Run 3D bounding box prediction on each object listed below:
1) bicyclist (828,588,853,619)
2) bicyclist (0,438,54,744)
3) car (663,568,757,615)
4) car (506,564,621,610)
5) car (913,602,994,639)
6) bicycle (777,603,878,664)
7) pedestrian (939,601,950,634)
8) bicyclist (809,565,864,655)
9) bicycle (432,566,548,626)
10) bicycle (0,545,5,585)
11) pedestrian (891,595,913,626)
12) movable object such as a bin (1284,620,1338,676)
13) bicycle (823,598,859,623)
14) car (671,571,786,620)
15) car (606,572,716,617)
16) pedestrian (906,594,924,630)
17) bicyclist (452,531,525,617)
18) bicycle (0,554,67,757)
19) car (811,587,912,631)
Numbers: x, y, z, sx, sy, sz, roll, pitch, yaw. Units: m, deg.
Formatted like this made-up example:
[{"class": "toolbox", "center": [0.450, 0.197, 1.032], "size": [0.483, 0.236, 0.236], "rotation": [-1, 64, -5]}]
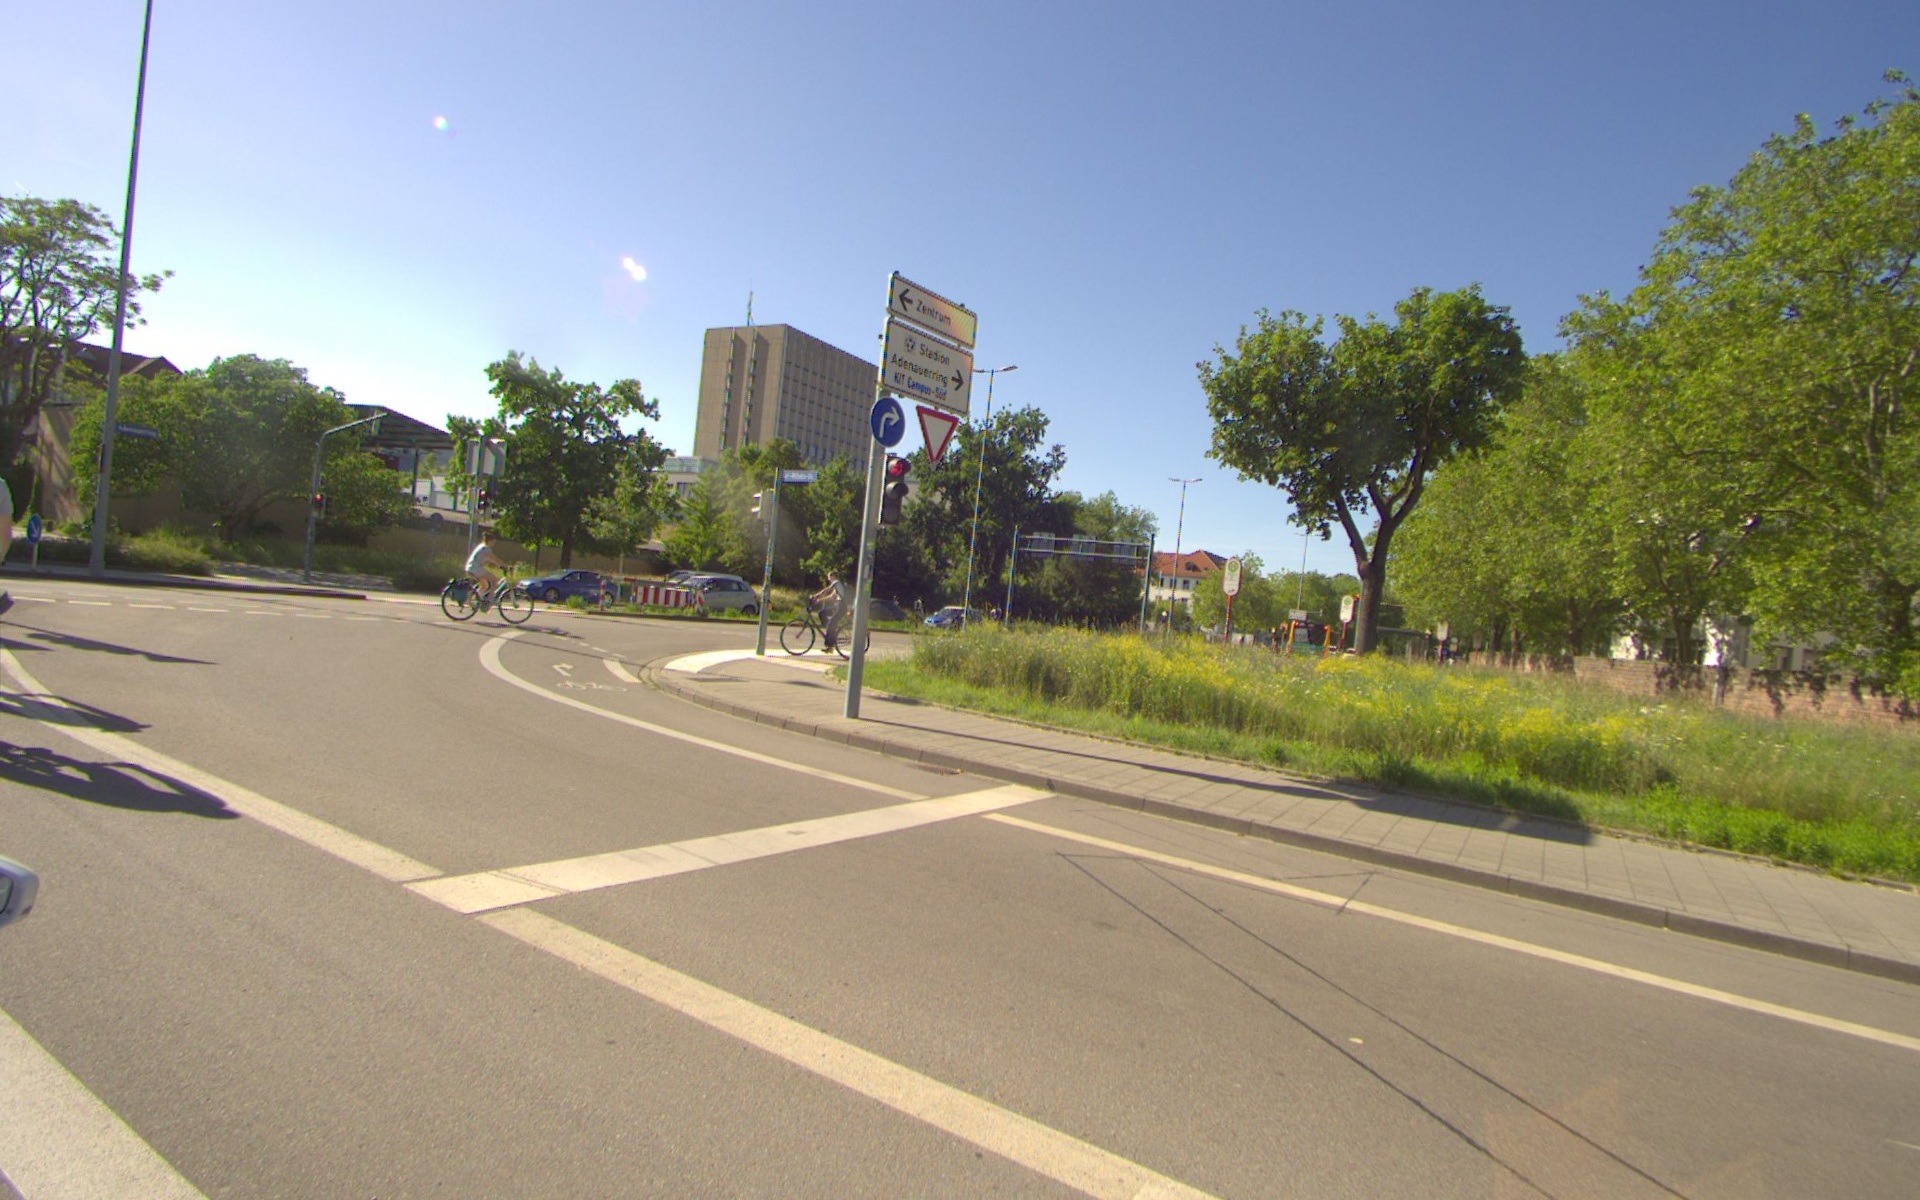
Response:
[{"class": "bicyclist", "center": [-5.642, 0.152, 47.461], "size": [0.602, 1.360, 0.874], "rotation": [7, 1, 37]}, {"class": "bicyclist", "center": [-6.245, -0.110, 6.104], "size": [1.123, 1.813, 0.684], "rotation": [7, 0, 32]}, {"class": "car", "center": [-11.843, -0.368, 47.798], "size": [1.767, 1.771, 3.986], "rotation": [7, 0, 37]}, {"class": "car", "center": [-16.211, -0.527, 41.320], "size": [1.767, 1.415, 3.986], "rotation": [7, 0, 37]}, {"class": "car", "center": [-0.294, 1.049, 50.459], "size": [1.916, 1.415, 3.986], "rotation": [6, 0, 37]}, {"class": "bicycle", "center": [-2.605, 0.654, 19.796], "size": [1.856, 0.970, 0.635], "rotation": [7, 1, -10]}, {"class": "pedestrian", "center": [-1.185, 1.314, 76.693], "size": [0.401, 2.451, 0.467], "rotation": [6, -1, 34]}, {"class": "bicyclist", "center": [-2.444, 0.192, 19.808], "size": [0.898, 1.667, 0.630], "rotation": [6, 1, -9]}, {"class": "bicycle", "center": [-9.104, -0.056, 19.553], "size": [0.514, 1.000, 1.965], "rotation": [7, 1, 39]}, {"class": "bicycle", "center": [-8.211, 0.020, 7.756], "size": [1.890, 1.102, 0.690], "rotation": [6, -1, 32]}, {"class": "pedestrian", "center": [-4.058, 0.727, 70.480], "size": [0.752, 2.039, 1.267], "rotation": [7, 1, 36]}, {"class": "movable object such as a bin", "center": [24.609, 3.438, 70.223], "size": [2.952, 2.893, 9.203], "rotation": [7, -4, 22]}, {"class": "bicycle", "center": [-5.633, 0.494, 47.534], "size": [0.602, 1.046, 1.681], "rotation": [7, 0, 37]}, {"class": "car", "center": [-8.740, -0.131, 38.291], "size": [1.767, 1.415, 3.986], "rotation": [7, 0, 37]}, {"class": "car", "center": [-12.300, -0.201, 41.573], "size": [1.767, 1.415, 3.986], "rotation": [7, 0, 37]}, {"class": "pedestrian", "center": [-3.290, 0.866, 73.216], "size": [0.660, 2.451, 0.770], "rotation": [6, -1, 34]}, {"class": "bicyclist", "center": [-9.123, -0.491, 19.469], "size": [0.509, 1.548, 1.067], "rotation": [7, 2, 39]}, {"class": "bicycle", "center": [-6.254, 0.240, 6.077], "size": [1.890, 1.102, 0.690], "rotation": [6, -1, 32]}, {"class": "car", "center": [-4.309, 0.434, 44.632], "size": [1.767, 1.490, 4.557], "rotation": [7, 0, 37]}]
